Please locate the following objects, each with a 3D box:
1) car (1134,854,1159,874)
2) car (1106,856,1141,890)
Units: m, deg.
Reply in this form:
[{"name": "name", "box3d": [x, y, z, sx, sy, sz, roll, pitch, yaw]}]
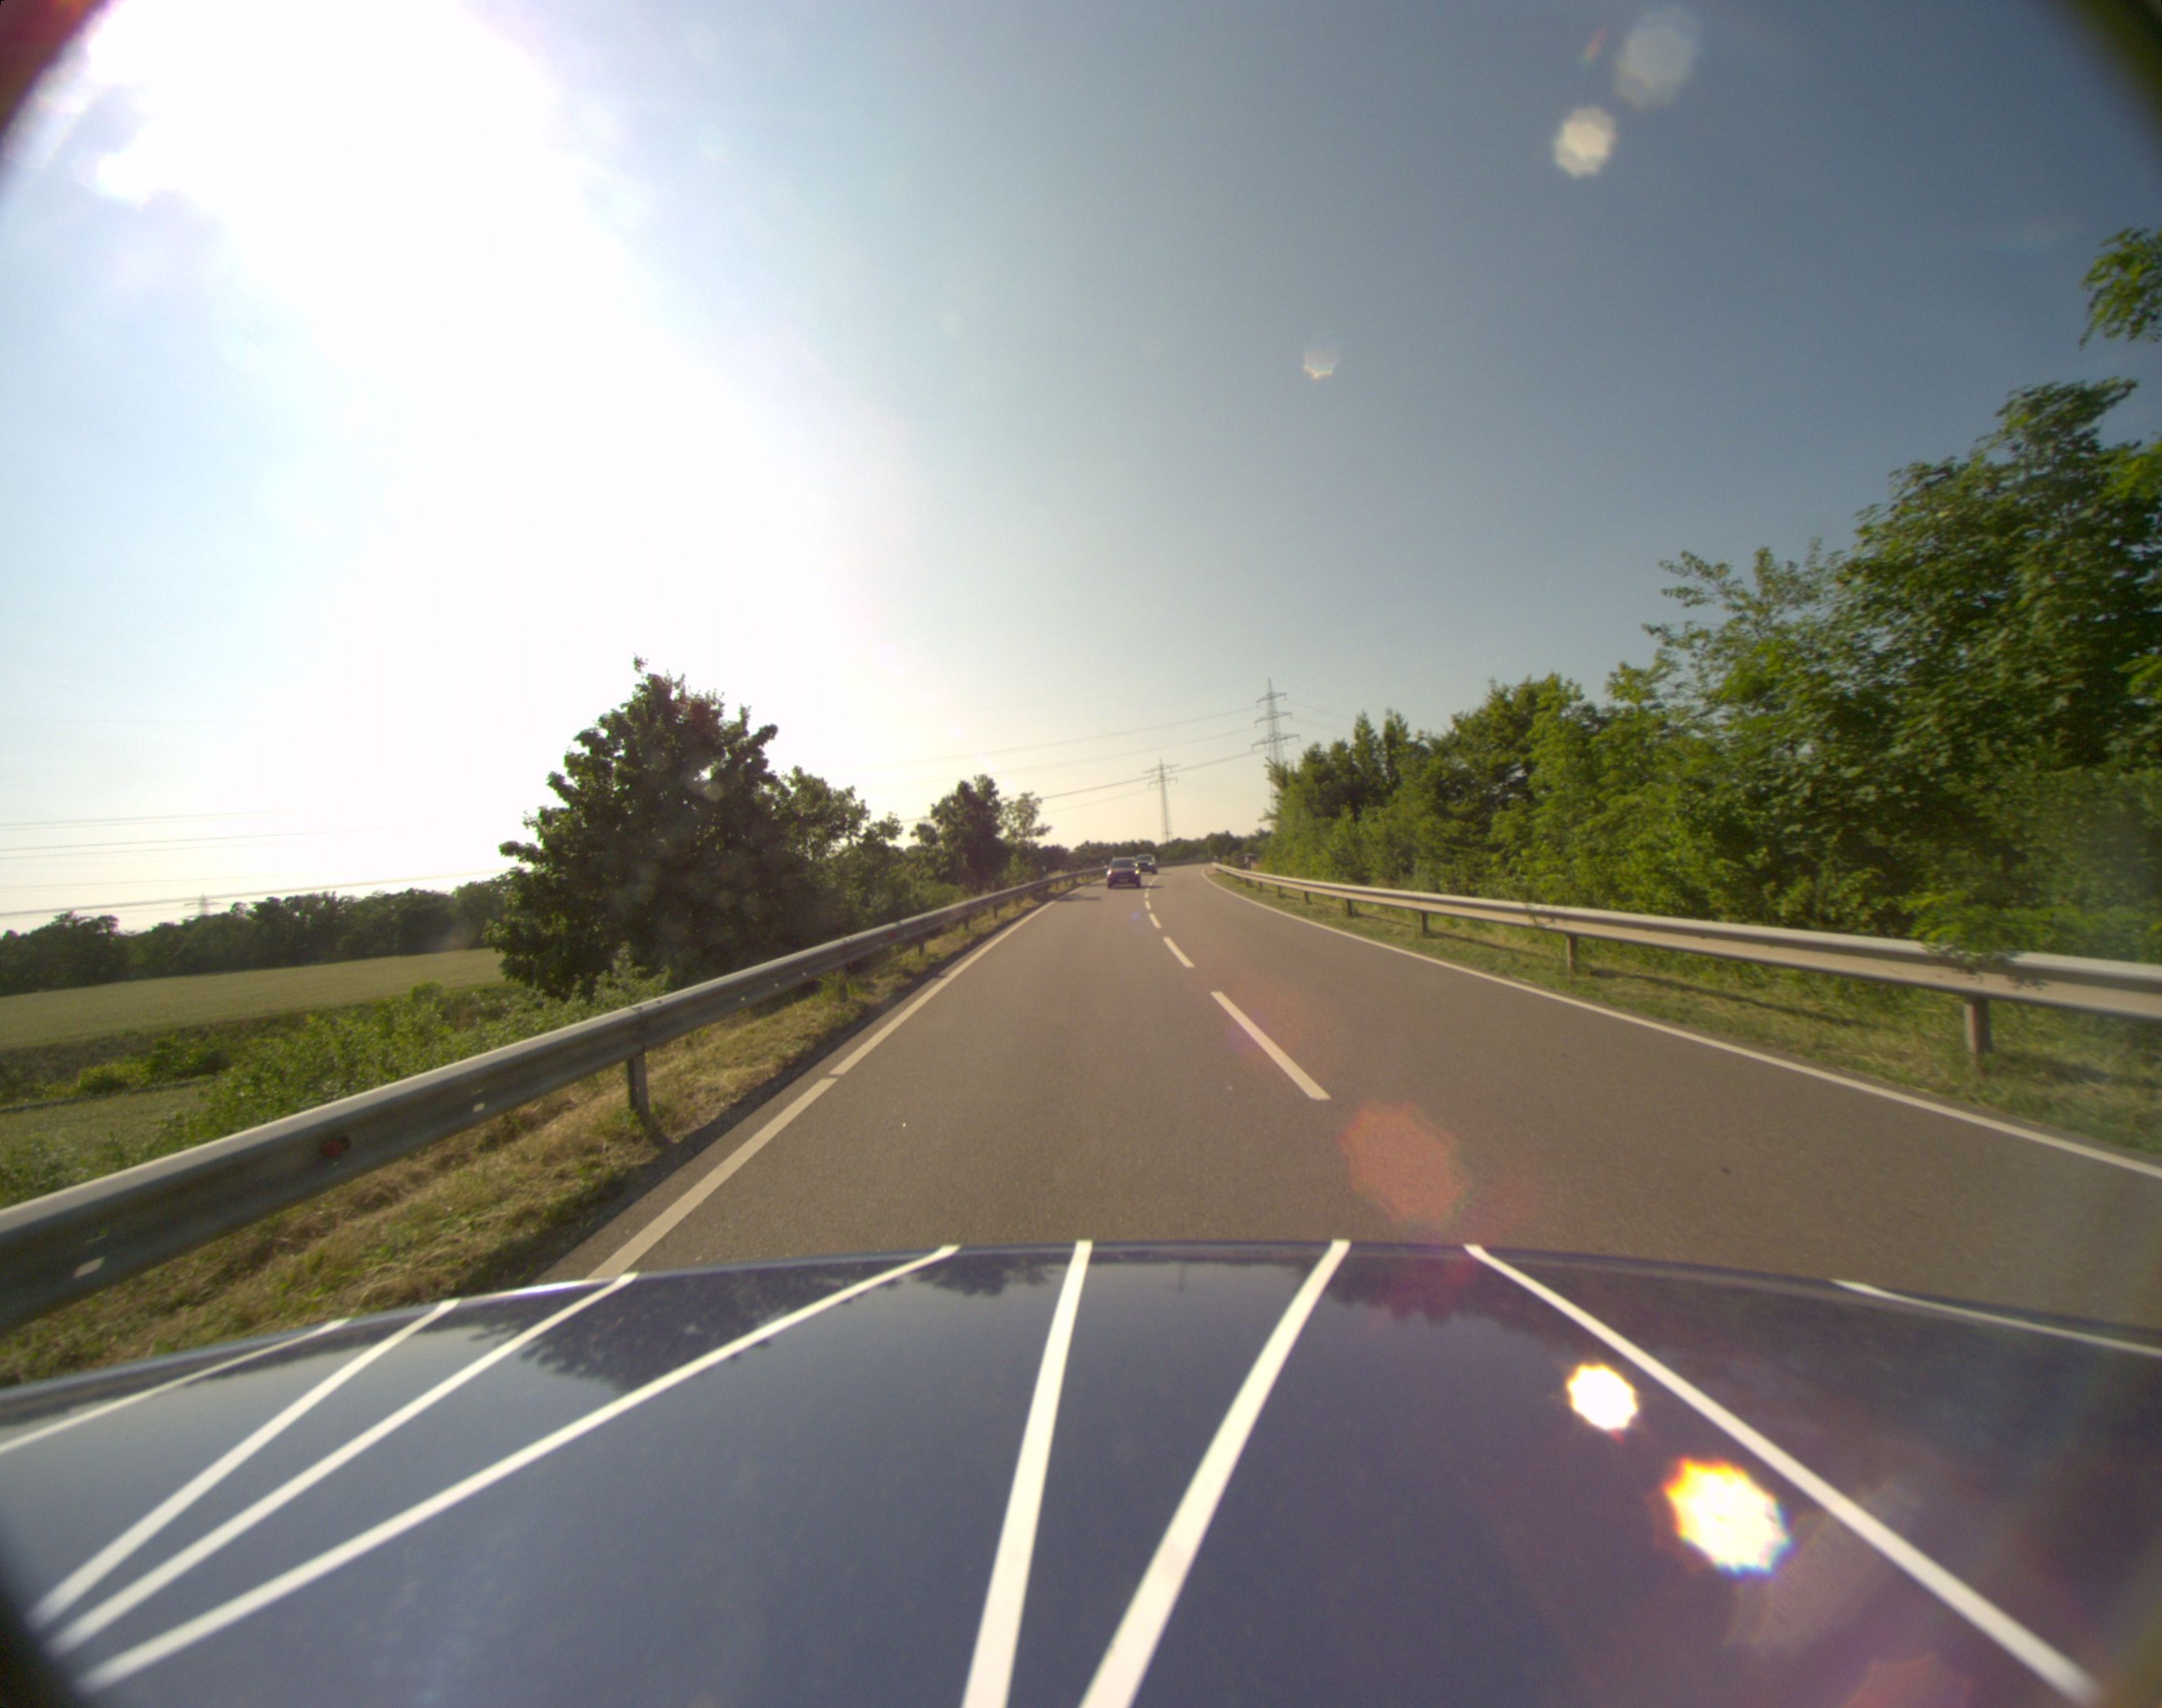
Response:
[{"name": "car", "box3d": [5.536, 0.786, 63.788, 1.605, 1.486, 4.003, -3, 1, 11]}, {"name": "car", "box3d": [2.197, 0.915, 38.630, 1.606, 1.486, 4.001, -3, 1, 5]}]
